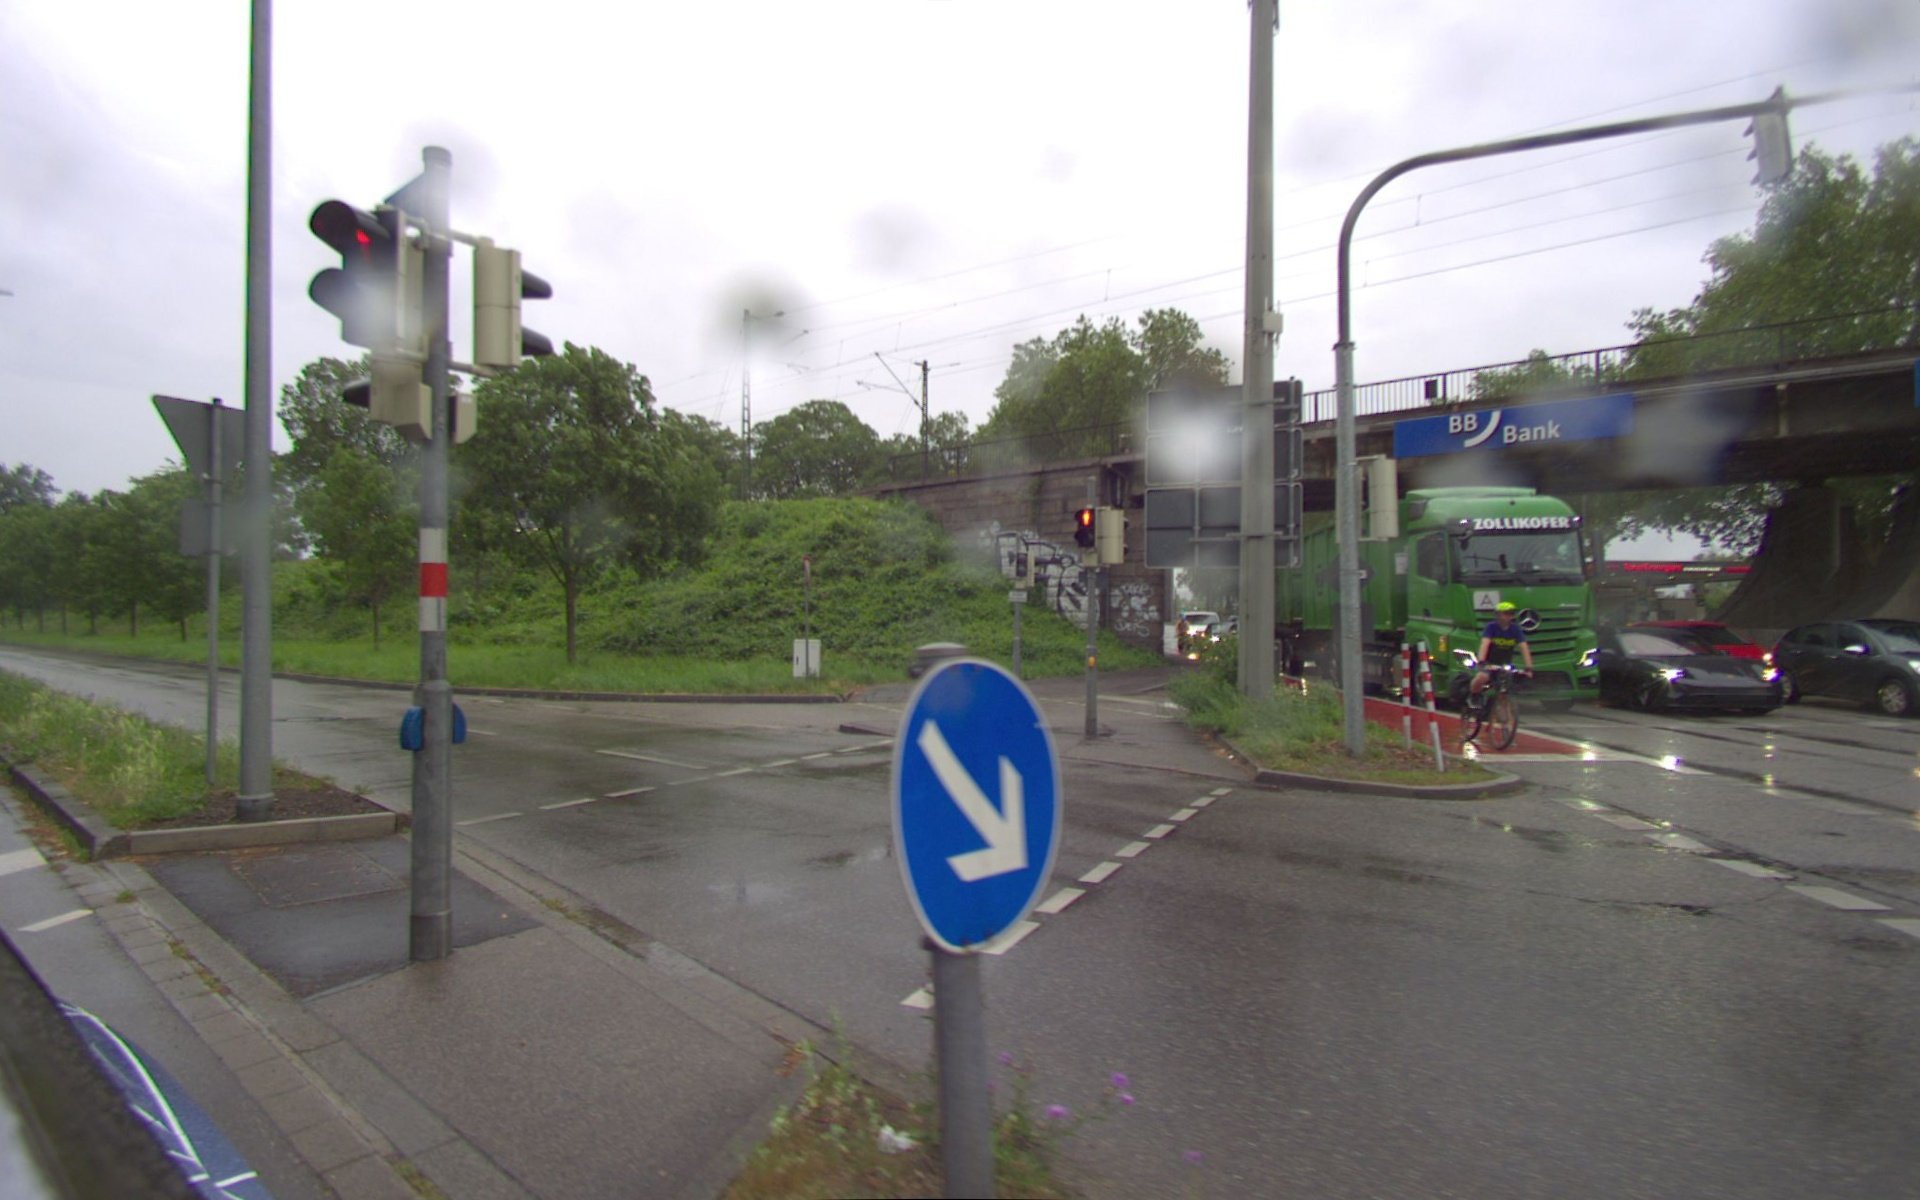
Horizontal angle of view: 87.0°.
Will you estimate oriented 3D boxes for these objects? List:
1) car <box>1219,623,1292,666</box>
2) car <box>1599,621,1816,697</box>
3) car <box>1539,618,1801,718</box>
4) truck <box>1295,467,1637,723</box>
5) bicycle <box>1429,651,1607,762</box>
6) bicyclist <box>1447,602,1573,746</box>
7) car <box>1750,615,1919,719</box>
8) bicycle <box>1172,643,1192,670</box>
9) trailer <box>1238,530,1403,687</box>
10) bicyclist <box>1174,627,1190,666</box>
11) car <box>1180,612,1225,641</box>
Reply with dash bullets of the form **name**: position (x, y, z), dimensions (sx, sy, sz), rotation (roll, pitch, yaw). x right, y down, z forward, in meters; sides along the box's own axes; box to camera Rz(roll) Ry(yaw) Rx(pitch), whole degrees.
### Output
- **car**: position (11.650, 1.733, 40.153), dimensions (1.974, 1.586, 3.994), rotation (0, -2, 4)
- **car**: position (15.804, 1.206, 21.699), dimensions (1.797, 1.463, 3.995), rotation (0, -2, 4)
- **car**: position (12.098, 1.099, 17.703), dimensions (1.725, 1.497, 4.674), rotation (0, -2, 7)
- **truck**: position (9.558, 0.051, 20.894), dimensions (2.654, 3.979, 10.178), rotation (0, -2, 5)
- **bicycle**: position (6.488, 1.198, 11.907), dimensions (0.683, 1.103, 1.918), rotation (-1, -1, -14)
- **bicyclist**: position (6.467, 0.831, 11.950), dimensions (0.791, 1.605, 1.050), rotation (0, 0, -15)
- **car**: position (15.181, 1.038, 16.430), dimensions (1.638, 1.558, 3.997), rotation (0, -2, 2)
- **bicycle**: position (10.029, 2.527, 45.692), dimensions (0.699, 1.103, 1.908), rotation (-1, 0, 7)
- **trailer**: position (10.409, 0.303, 30.222), dimensions (2.656, 4.017, 8.504), rotation (0, -1, 6)
- **bicyclist**: position (10.009, 2.098, 45.668), dimensions (0.660, 1.748, 0.688), rotation (0, -2, 8)
- **car**: position (12.834, 1.440, 53.749), dimensions (1.806, 1.481, 3.992), rotation (0, -2, 7)
